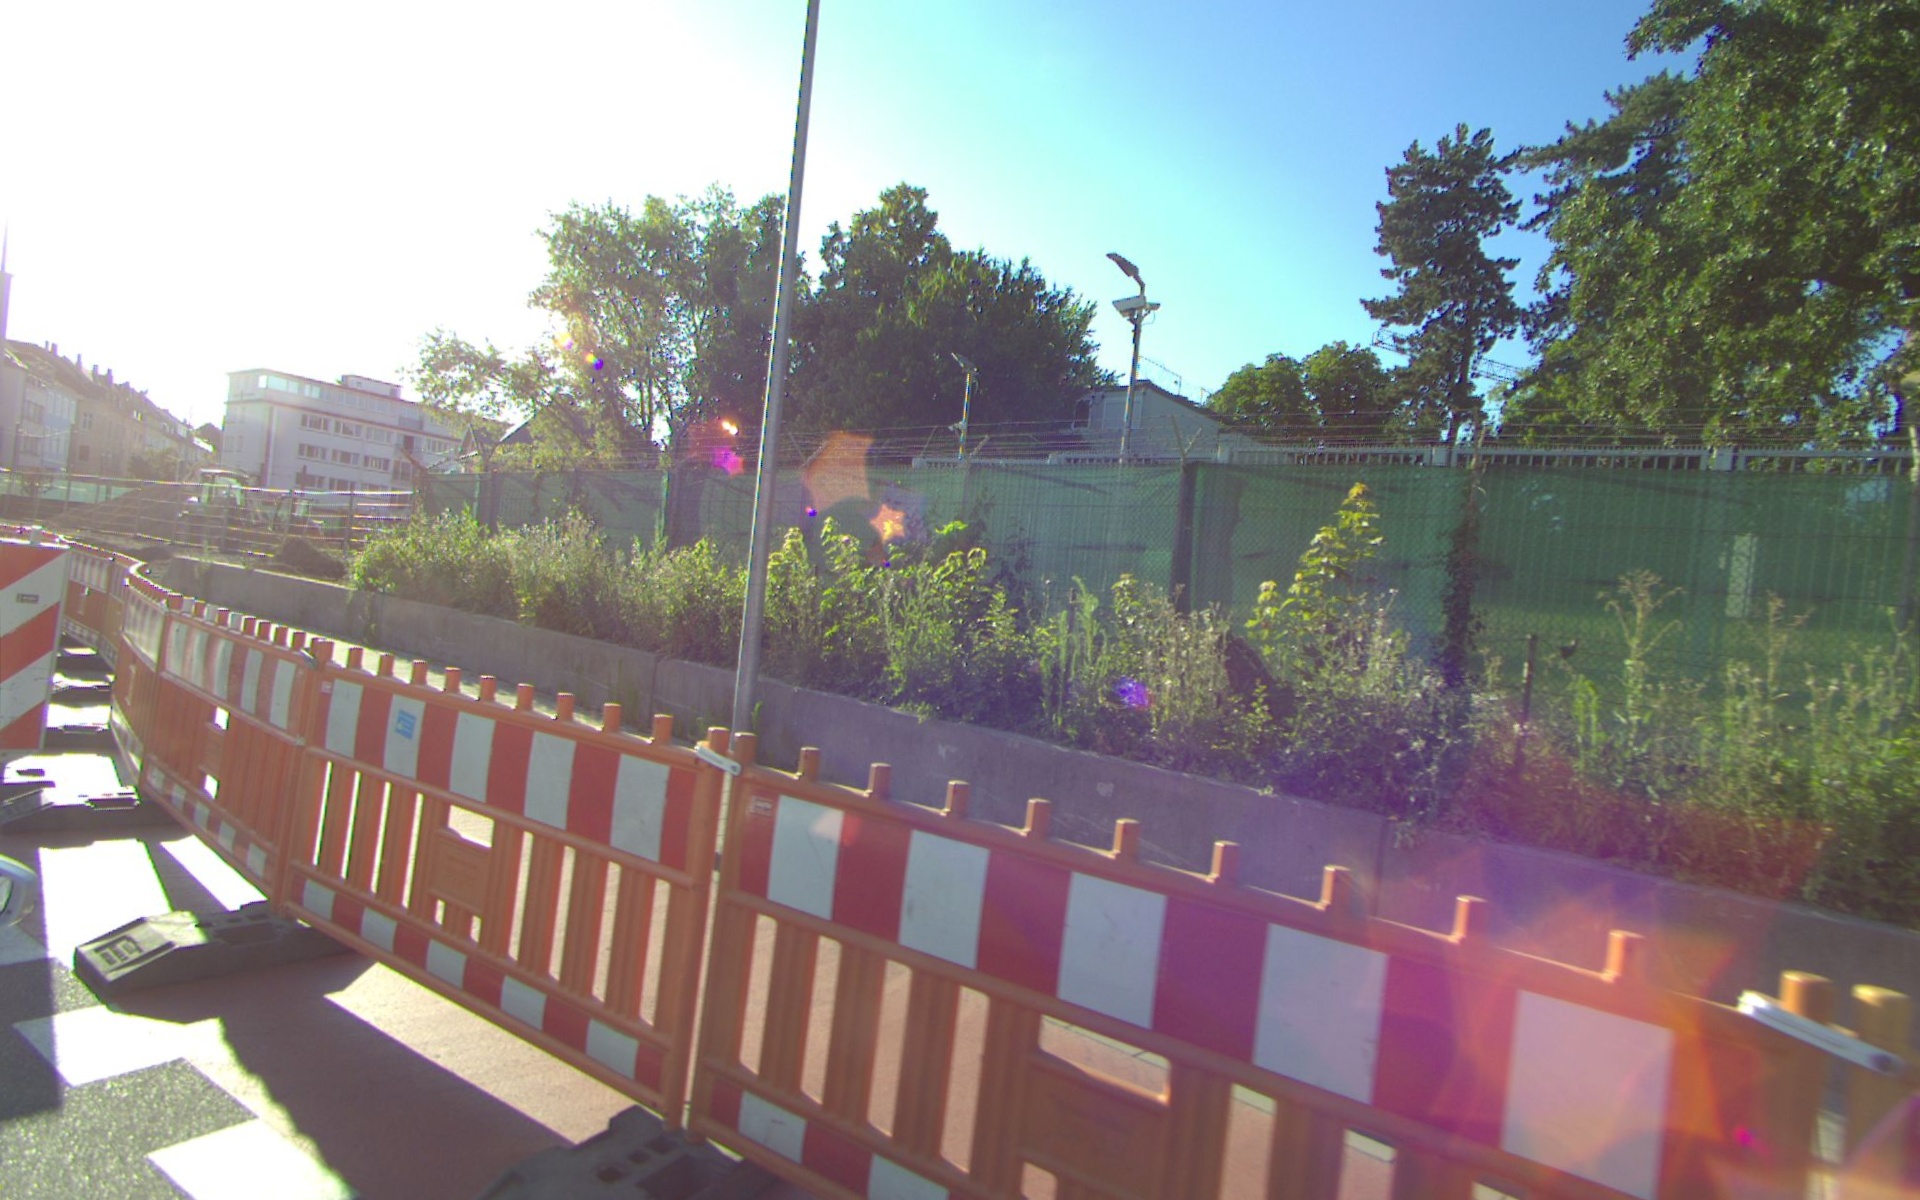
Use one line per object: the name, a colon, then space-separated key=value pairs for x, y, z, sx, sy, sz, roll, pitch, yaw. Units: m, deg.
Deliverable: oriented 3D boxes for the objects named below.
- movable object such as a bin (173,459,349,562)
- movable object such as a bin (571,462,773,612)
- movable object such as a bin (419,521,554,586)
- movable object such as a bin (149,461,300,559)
movable object such as a bin: x=-31.028 y=-3.884 z=44.982 sx=6.021 sy=3.602 sz=2.836 roll=7 pitch=0 yaw=-33
movable object such as a bin: x=-8.107 y=-1.812 z=28.019 sx=5.414 sy=3.602 sz=2.275 roll=7 pitch=1 yaw=36
movable object such as a bin: x=-20.764 y=-1.959 z=44.397 sx=2.187 sy=2.350 sz=5.039 roll=1 pitch=-2 yaw=28
movable object such as a bin: x=-24.864 y=-3.053 z=33.990 sx=4.860 sy=2.737 sz=2.278 roll=7 pitch=0 yaw=32
